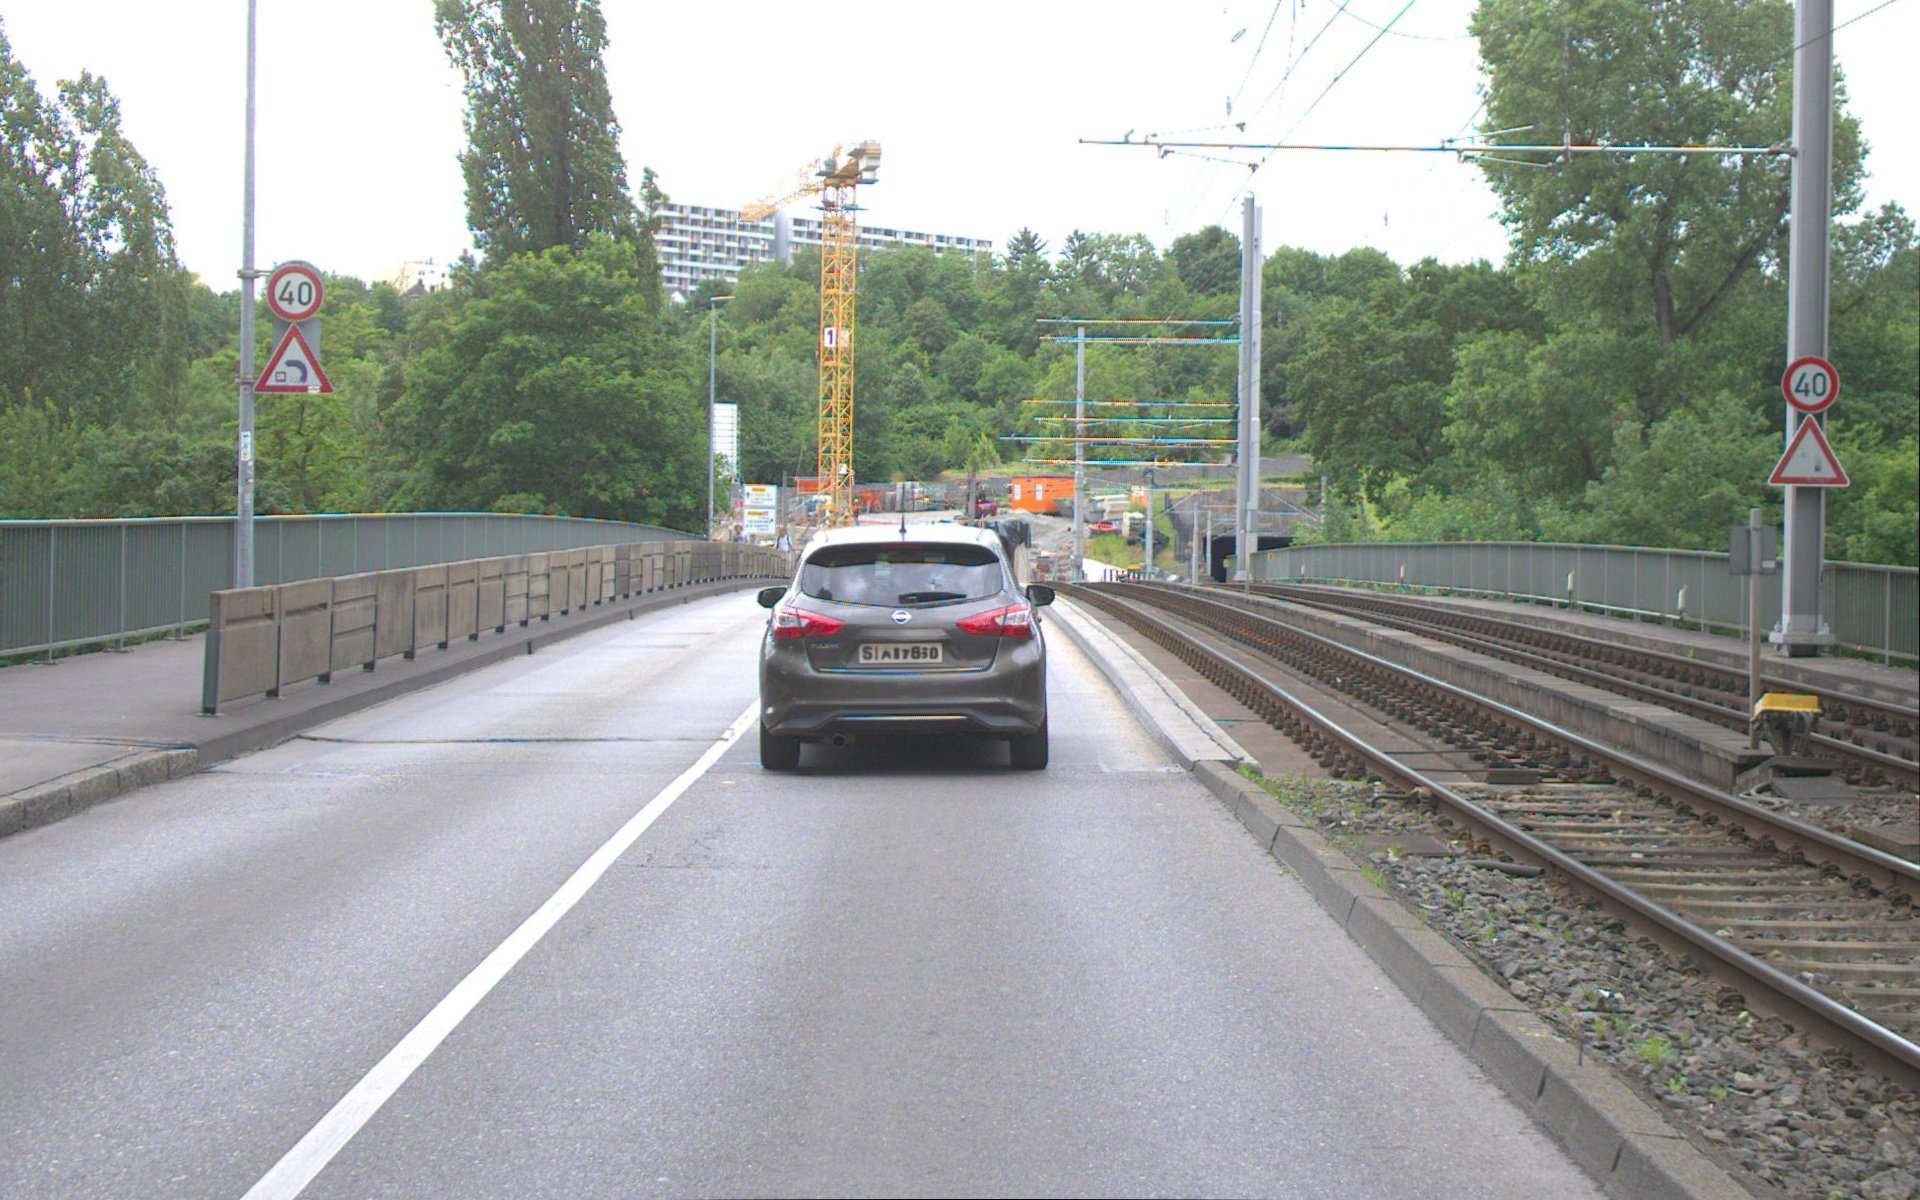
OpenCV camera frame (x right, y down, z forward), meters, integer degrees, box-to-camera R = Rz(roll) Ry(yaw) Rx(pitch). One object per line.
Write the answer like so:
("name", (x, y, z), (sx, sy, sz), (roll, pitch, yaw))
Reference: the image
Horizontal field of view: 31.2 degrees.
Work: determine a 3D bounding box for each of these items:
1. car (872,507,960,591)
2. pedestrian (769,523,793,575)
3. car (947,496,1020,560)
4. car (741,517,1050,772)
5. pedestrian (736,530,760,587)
("car", (-0.865, -1.064, 69.812), (1.680, 1.601, 4.309), (2, 2, 0))
("pedestrian", (-5.776, -1.643, 111.010), (0.721, 1.695, 0.723), (0, 0, 0))
("car", (0.591, -1.936, 91.110), (1.680, 1.601, 4.310), (2, 2, -2))
("car", (-0.502, 0.256, 22.312), (1.829, 1.505, 4.000), (0, 0, -4))
("pedestrian", (-6.880, -1.356, 111.722), (0.721, 1.833, 0.723), (1, 0, 0))
